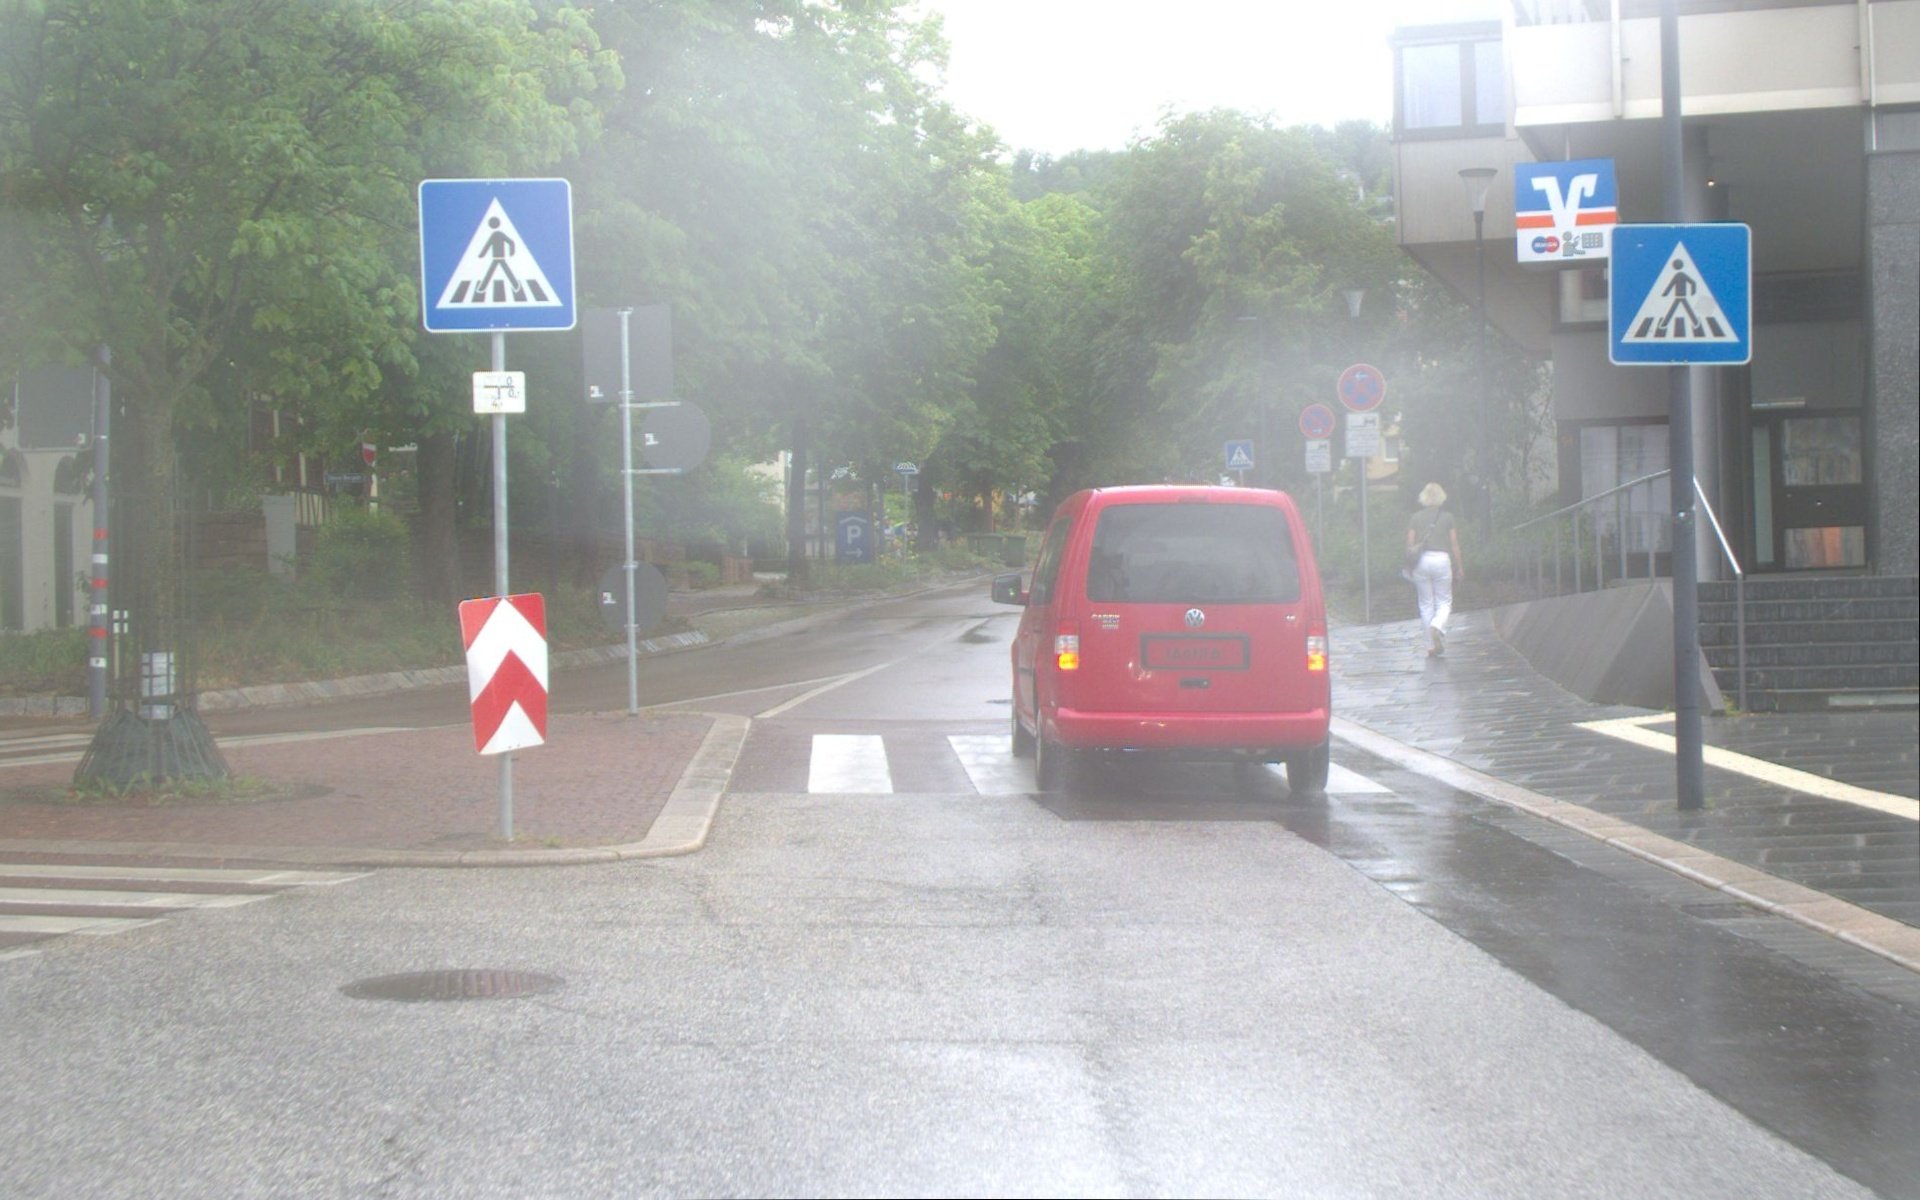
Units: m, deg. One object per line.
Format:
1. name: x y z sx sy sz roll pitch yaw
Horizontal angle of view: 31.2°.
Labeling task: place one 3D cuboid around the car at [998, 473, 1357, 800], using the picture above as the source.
1. car: 1.262 0.194 21.691 1.862 1.824 4.185 -1 0 -1

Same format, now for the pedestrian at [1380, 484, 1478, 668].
1. pedestrian: 4.745 -0.251 34.741 0.835 1.824 0.815 -1 1 17
